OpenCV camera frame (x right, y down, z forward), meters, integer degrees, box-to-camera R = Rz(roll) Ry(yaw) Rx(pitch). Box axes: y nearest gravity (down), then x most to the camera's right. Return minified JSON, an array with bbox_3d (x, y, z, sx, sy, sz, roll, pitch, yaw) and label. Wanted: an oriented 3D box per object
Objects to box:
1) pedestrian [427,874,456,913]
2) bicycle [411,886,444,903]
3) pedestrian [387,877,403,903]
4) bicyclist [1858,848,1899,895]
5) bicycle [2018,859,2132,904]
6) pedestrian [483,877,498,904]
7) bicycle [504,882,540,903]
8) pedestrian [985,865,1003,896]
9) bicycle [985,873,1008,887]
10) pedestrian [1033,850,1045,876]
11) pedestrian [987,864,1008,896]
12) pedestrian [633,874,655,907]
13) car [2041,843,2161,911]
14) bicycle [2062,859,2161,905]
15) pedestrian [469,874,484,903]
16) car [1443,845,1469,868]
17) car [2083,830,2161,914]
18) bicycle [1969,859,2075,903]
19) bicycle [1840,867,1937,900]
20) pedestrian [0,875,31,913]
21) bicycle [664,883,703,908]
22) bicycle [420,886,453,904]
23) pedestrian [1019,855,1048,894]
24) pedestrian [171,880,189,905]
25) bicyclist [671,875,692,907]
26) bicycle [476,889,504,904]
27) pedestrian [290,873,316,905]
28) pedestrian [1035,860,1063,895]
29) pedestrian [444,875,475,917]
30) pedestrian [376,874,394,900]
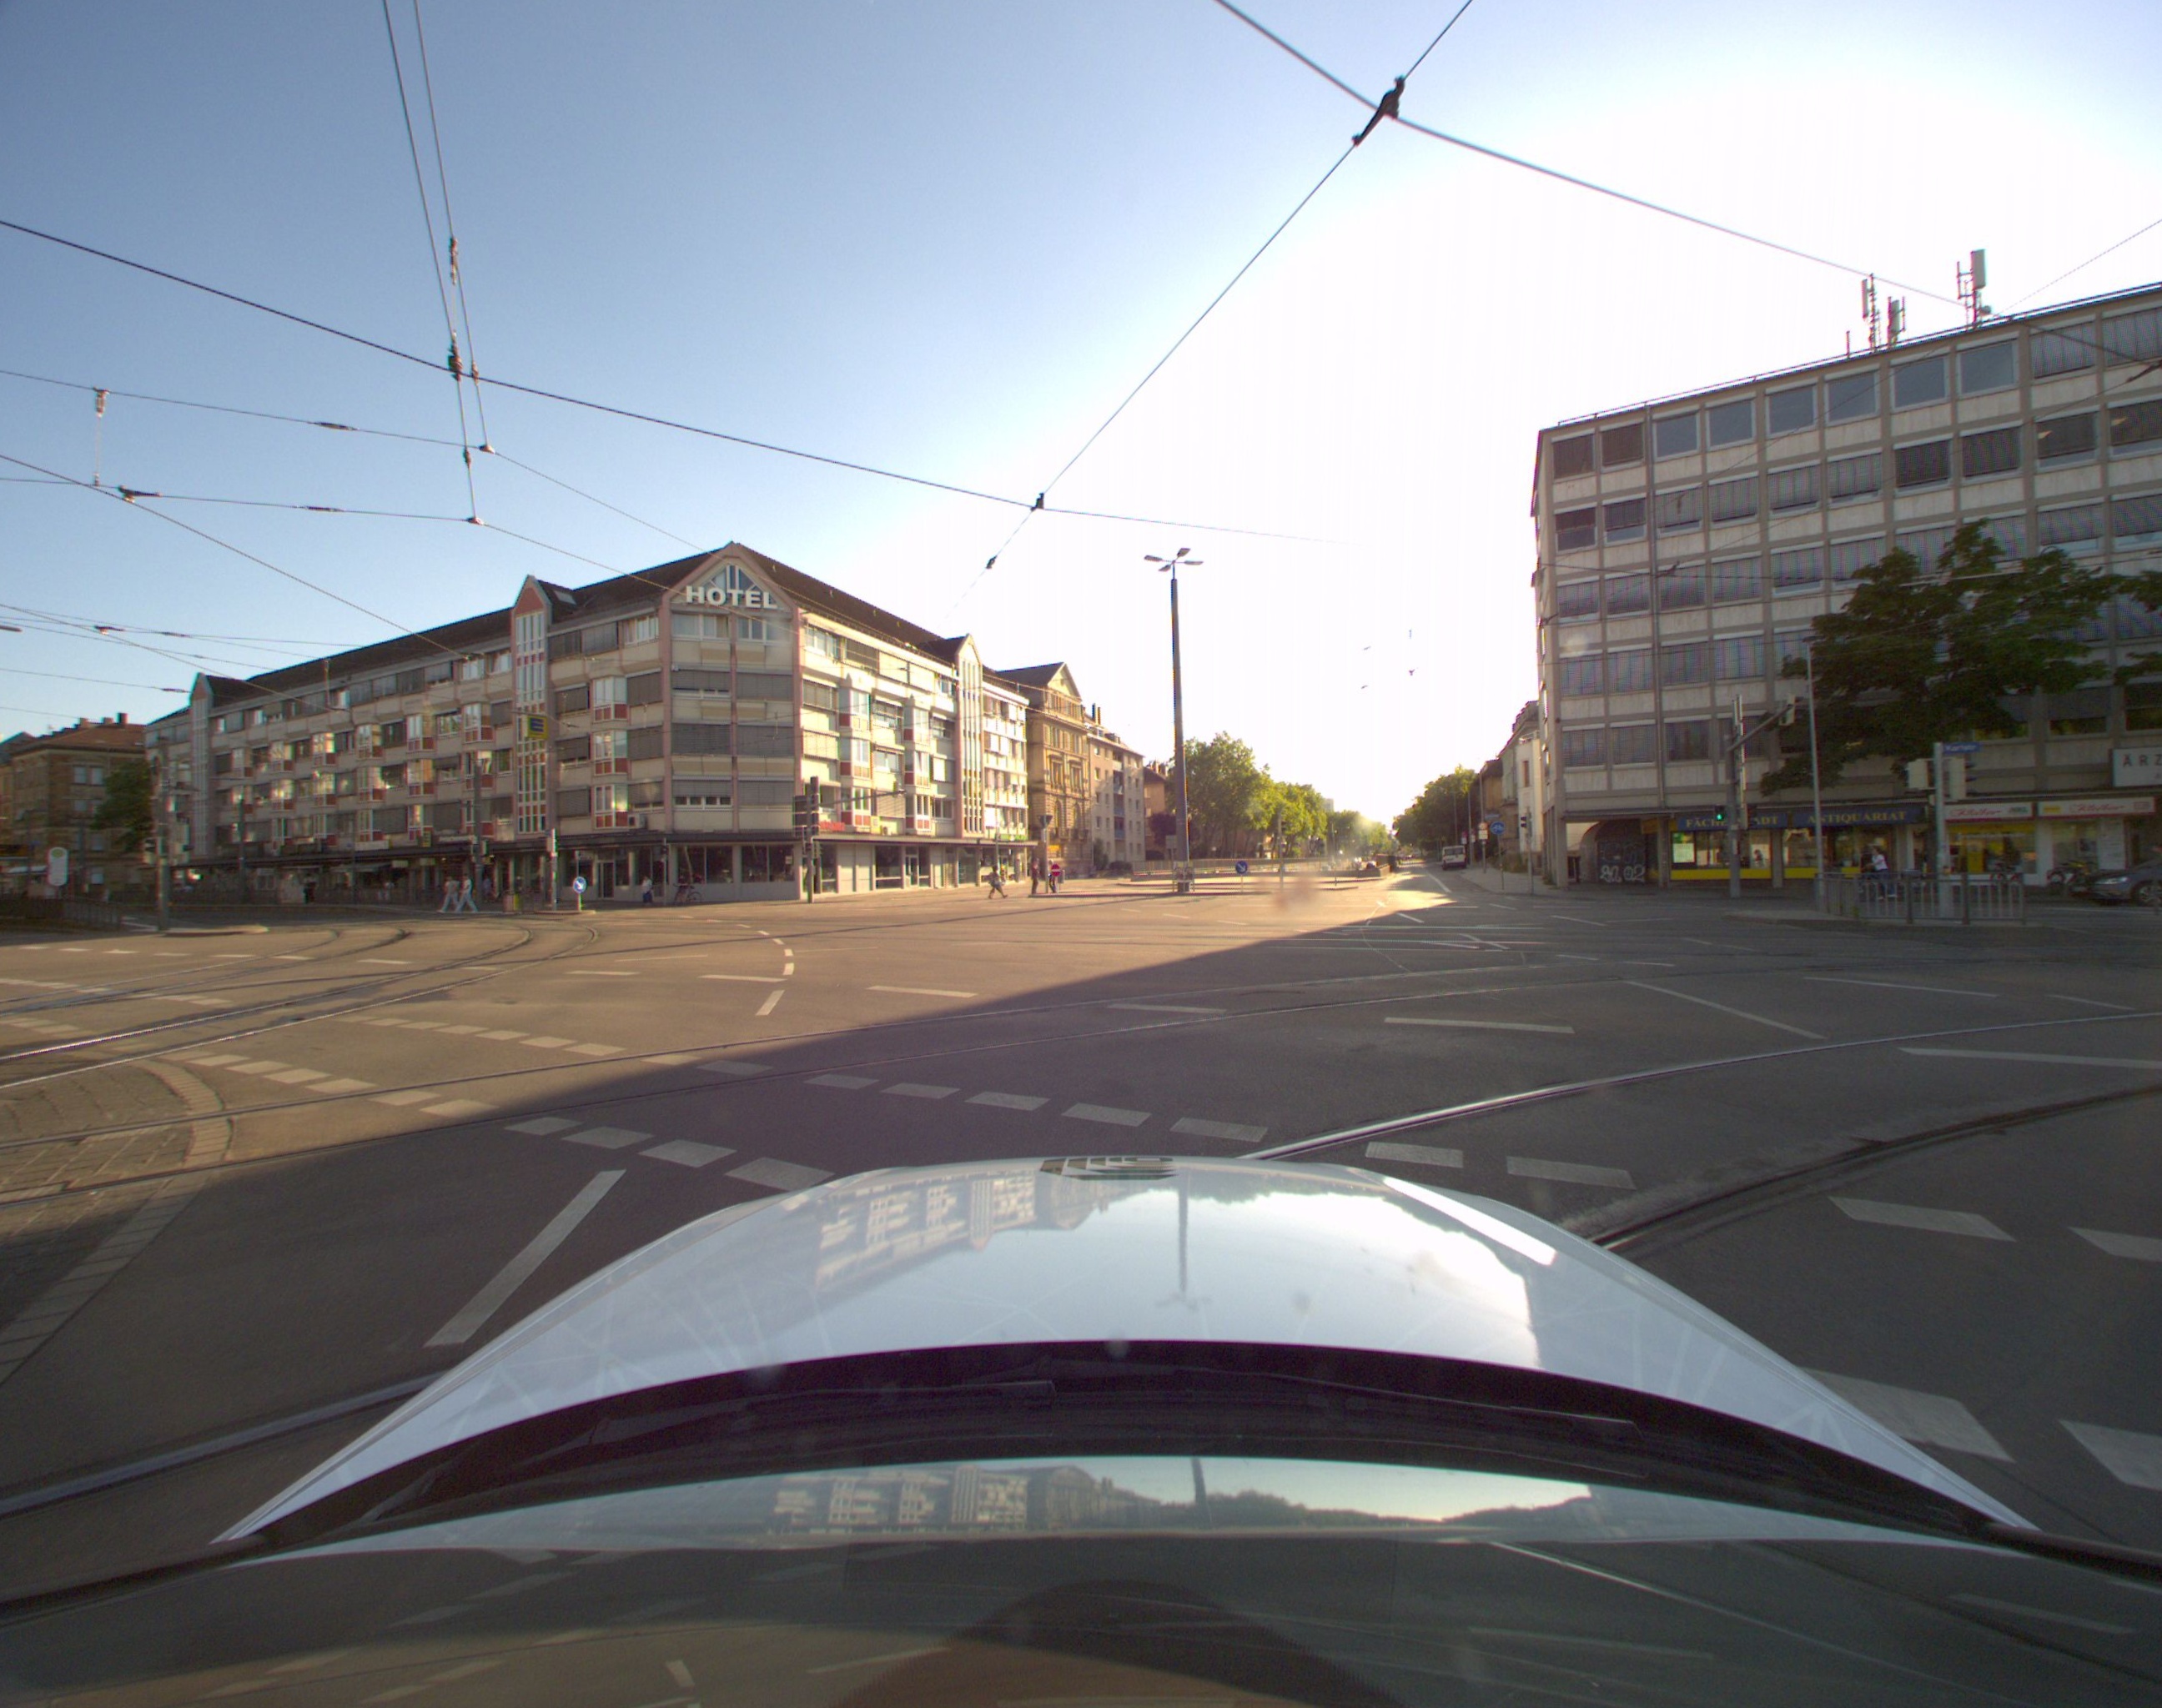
[{"bbox_3d":[-28.147,1.717,35.842,0.622,1.694,0.865,0,-1,-10],"label":"pedestrian"},{"bbox_3d":[-43.897,2.710,54.726,0.559,1.119,1.658,0,-1,22],"label":"bicycle"},{"bbox_3d":[-46.948,2.459,55.755,0.824,1.778,0.672,1,-1,-39],"label":"pedestrian"},{"bbox_3d":[24.472,0.536,25.008,0.673,1.424,0.674,0,-1,21],"label":"bicyclist"},{"bbox_3d":[29.488,0.787,24.240,0.743,1.143,2.652,0,2,16],"label":"bicycle"},{"bbox_3d":[-36.940,2.271,50.915,0.611,1.635,0.599,0,-1,-23],"label":"pedestrian"},{"bbox_3d":[-33.315,2.293,48.527,2.303,1.227,0.734,-2,-1,27],"label":"bicycle"},{"bbox_3d":[-4.229,1.300,39.414,0.853,1.465,0.684,0,-6,-7],"label":"pedestrian"},{"bbox_3d":[-6.693,2.035,64.548,0.447,1.071,2.105,0,-1,38],"label":"bicycle"},{"bbox_3d":[-3.977,0.864,76.563,0.920,2.398,0.964,0,-1,11],"label":"pedestrian"},{"bbox_3d":[-3.936,1.216,38.535,0.699,1.453,0.860,0,-1,17],"label":"pedestrian"},{"bbox_3d":[-22.290,1.856,41.547,0.712,1.662,0.633,-2,-1,-2],"label":"pedestrian"},{"bbox_3d":[27.075,0.555,20.048,4.030,1.618,1.855,0,-1,26],"label":"car"},{"bbox_3d":[30.464,0.788,23.917,0.743,1.143,2.652,0,2,16],"label":"bicycle"},{"bbox_3d":[-39.029,2.241,52.590,0.596,1.852,0.614,0,-1,31],"label":"pedestrian"},{"bbox_3d":[36.891,0.269,80.250,2.265,2.172,4.860,0,-1,23],"label":"car"},{"bbox_3d":[22.832,0.346,15.747,3.950,1.618,1.855,0,-1,26],"label":"car"},{"bbox_3d":[28.367,0.778,24.631,0.743,1.143,2.652,0,2,16],"label":"bicycle"},{"bbox_3d":[24.665,0.890,24.920,2.007,0.940,0.674,0,-1,20],"label":"bicycle"},{"bbox_3d":[-45.227,1.688,34.490,0.617,1.578,0.691,0,-1,1],"label":"pedestrian"},{"bbox_3d":[-20.294,2.103,41.618,0.633,1.145,1.780,0,2,25],"label":"bicycle"},{"bbox_3d":[-42.703,2.708,53.971,0.478,1.119,1.658,0,-1,22],"label":"bicycle"},{"bbox_3d":[-2.321,1.001,40.048,1.185,1.883,0.860,0,1,17],"label":"pedestrian"},{"bbox_3d":[-75.232,3.227,67.988,0.767,2.014,0.847,0,-1,31],"label":"pedestrian"},{"bbox_3d":[-20.362,1.882,41.464,0.633,1.596,0.662,0,2,25],"label":"bicyclist"},{"bbox_3d":[-36.061,2.597,49.717,2.052,0.917,0.504,-2,-1,27],"label":"bicycle"},{"bbox_3d":[-41.795,1.859,43.752,0.676,1.660,0.784,0,-1,16],"label":"pedestrian"},{"bbox_3d":[-1.639,1.168,41.217,1.185,1.731,0.860,0,-1,17],"label":"pedestrian"},{"bbox_3d":[-26.768,1.781,35.103,0.507,1.764,1.006,0,-1,2],"label":"pedestrian"},{"bbox_3d":[-45.780,2.152,53.585,0.543,1.645,0.758,0,-1,31],"label":"pedestrian"}]
